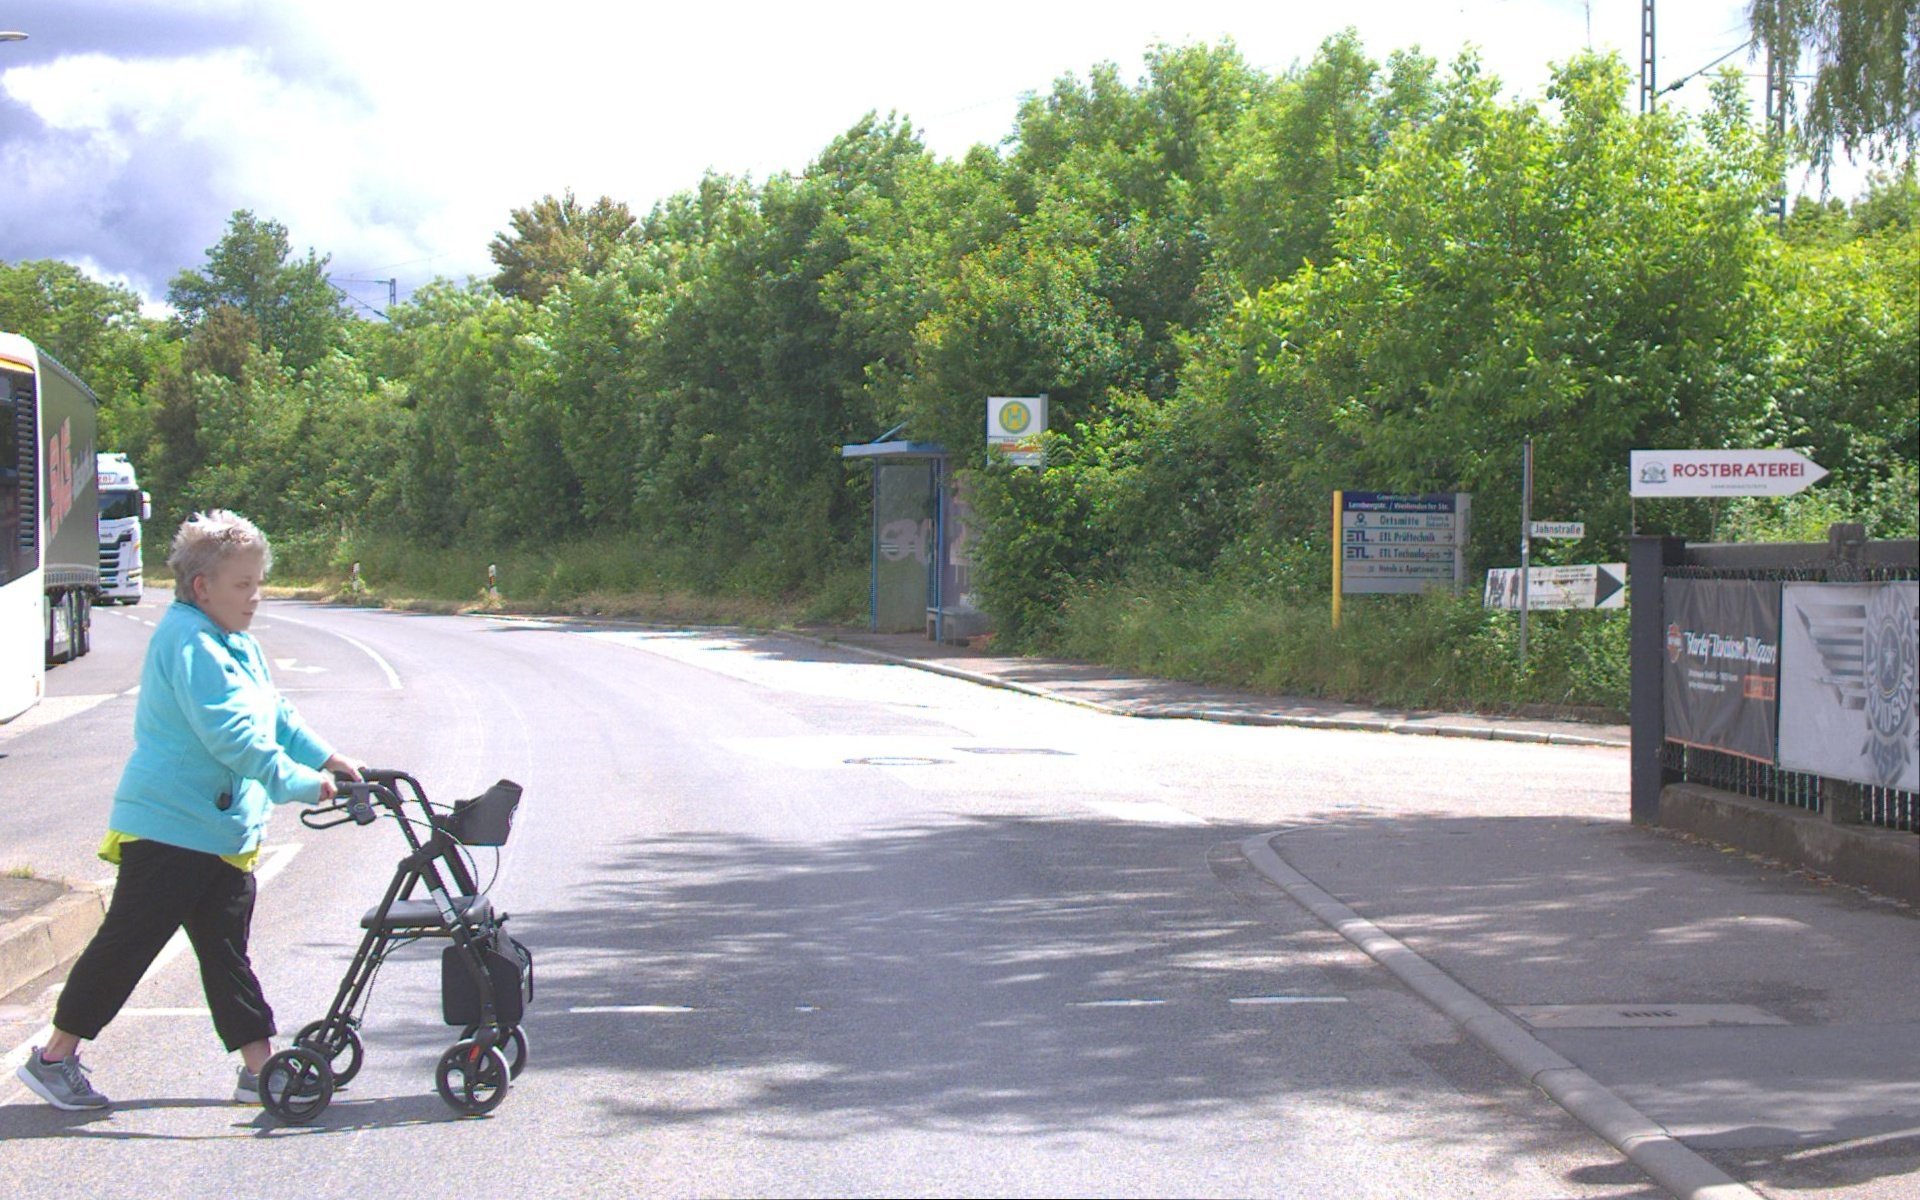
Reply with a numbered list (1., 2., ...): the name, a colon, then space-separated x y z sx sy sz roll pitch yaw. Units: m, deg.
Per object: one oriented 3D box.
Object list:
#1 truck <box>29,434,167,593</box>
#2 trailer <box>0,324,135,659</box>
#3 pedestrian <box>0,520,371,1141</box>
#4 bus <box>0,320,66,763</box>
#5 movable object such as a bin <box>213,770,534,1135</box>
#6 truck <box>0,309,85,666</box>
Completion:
1. truck: -23.055 -2.274 91.807 2.770 4.105 4.988 1 1 -23
2. trailer: -13.673 -1.419 49.020 2.798 4.039 15.560 1 1 -10
3. pedestrian: -2.000 0.573 8.919 0.838 1.538 0.734 1 0 -4
4. bus: -7.844 -0.346 19.009 2.718 3.020 12.266 0 1 -1
5. movable object such as a bin: -1.511 0.902 8.955 0.746 0.868 0.671 1 0 -4
6. truck: -12.395 -1.330 42.048 2.798 4.039 6.503 1 1 -10
